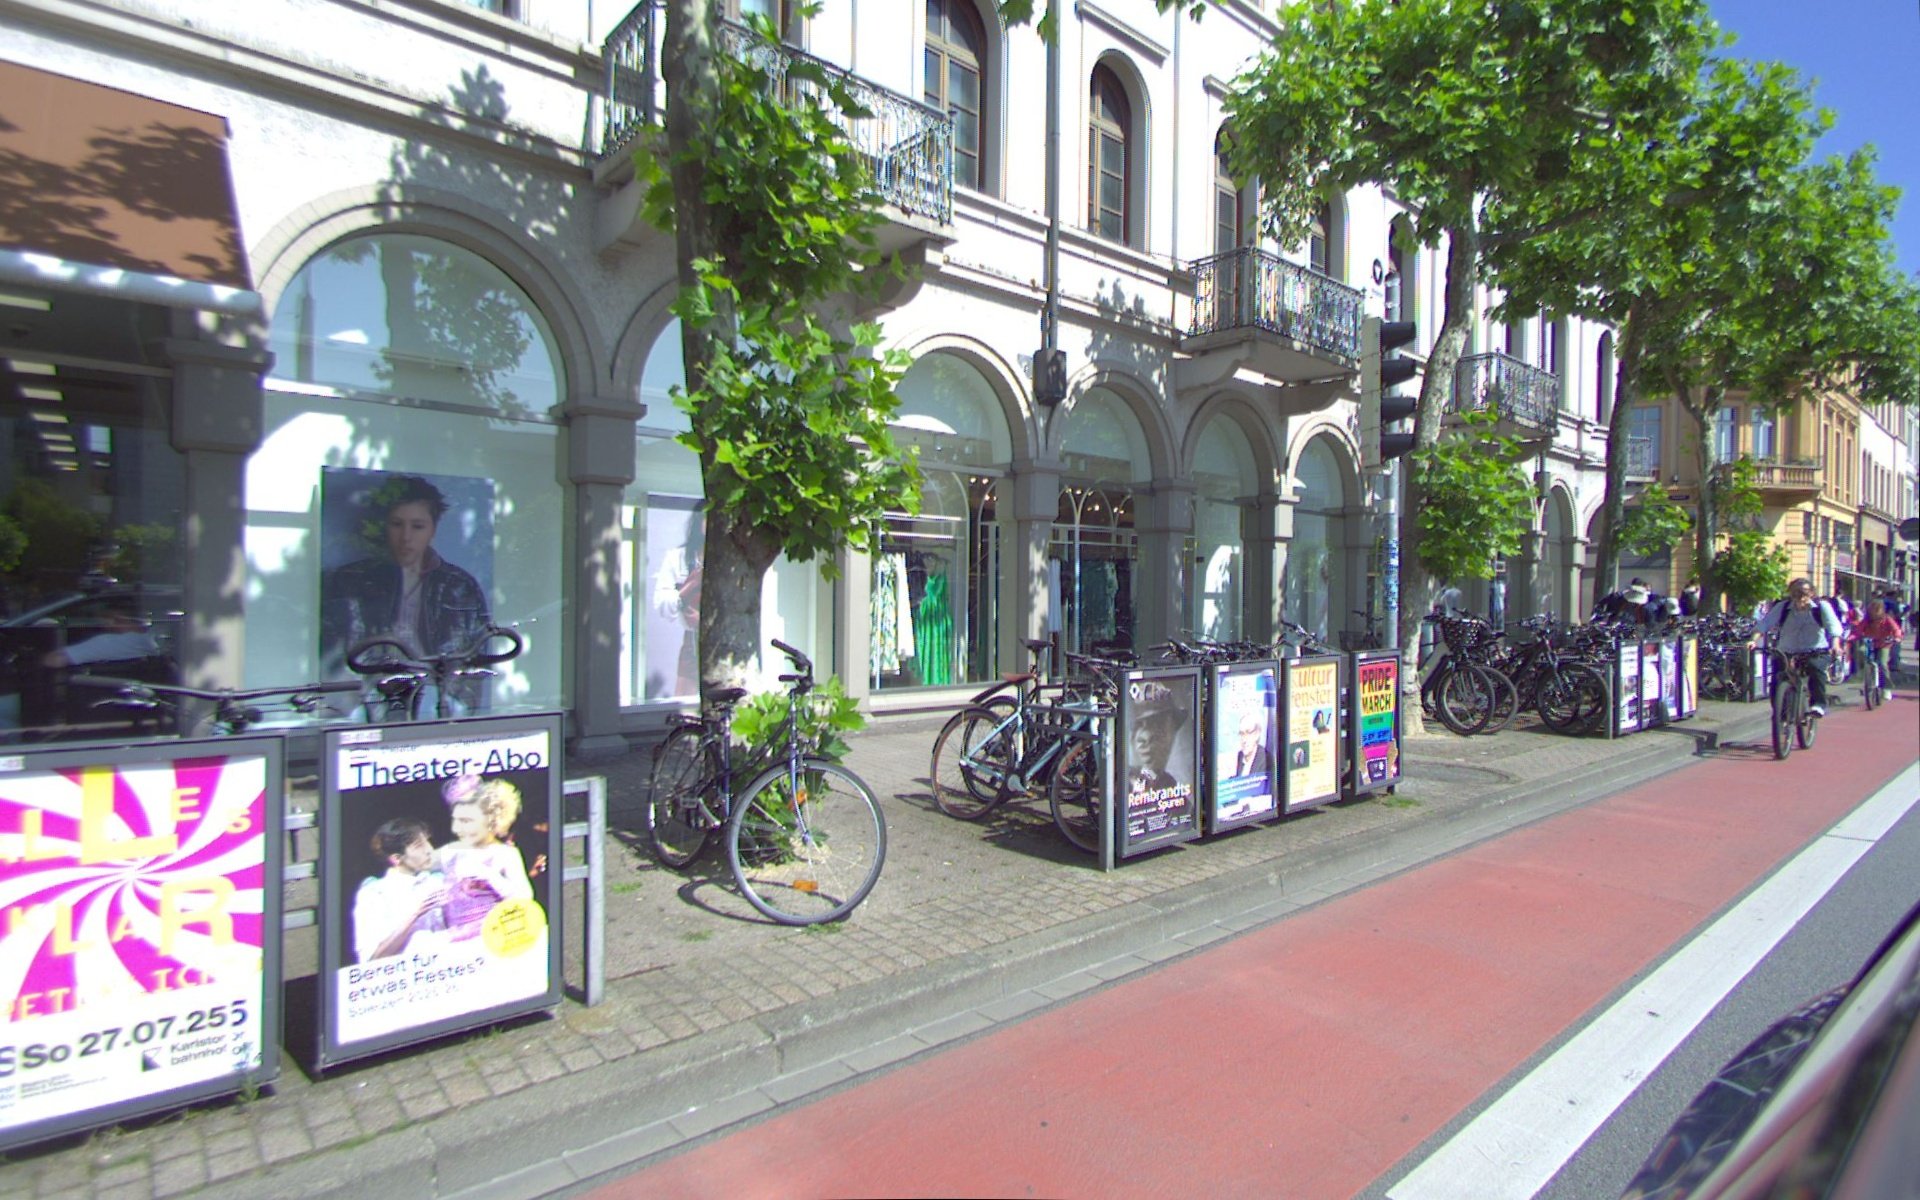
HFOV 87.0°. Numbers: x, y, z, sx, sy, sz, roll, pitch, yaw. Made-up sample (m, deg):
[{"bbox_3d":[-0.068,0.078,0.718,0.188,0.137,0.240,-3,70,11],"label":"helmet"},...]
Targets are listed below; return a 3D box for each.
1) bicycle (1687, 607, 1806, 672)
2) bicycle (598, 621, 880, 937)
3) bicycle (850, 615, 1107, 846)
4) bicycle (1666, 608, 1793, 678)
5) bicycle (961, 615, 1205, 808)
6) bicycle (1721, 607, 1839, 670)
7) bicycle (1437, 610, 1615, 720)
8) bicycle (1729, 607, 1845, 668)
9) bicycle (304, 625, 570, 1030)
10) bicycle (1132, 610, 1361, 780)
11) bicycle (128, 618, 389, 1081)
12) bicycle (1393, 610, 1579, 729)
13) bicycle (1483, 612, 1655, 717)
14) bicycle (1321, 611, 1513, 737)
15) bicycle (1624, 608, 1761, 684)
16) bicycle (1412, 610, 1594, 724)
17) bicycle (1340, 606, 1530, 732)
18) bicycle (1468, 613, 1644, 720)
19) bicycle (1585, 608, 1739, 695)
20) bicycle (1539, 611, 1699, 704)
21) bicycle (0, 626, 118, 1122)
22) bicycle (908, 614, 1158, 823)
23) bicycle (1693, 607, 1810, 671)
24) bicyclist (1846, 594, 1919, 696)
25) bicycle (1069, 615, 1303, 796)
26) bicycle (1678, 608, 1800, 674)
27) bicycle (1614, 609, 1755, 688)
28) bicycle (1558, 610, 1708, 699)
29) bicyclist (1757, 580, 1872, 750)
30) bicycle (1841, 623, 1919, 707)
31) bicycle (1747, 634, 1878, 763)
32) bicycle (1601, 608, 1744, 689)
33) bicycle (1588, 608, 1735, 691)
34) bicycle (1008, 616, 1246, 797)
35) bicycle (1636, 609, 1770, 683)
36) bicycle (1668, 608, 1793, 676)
[{"bbox_3d":[15.191,0.738,19.578,0.582,1.161,1.755,0,0,-42],"label":"bicycle"},{"bbox_3d":[-1.096,0.703,4.708,0.474,1.161,1.755,0,0,-42],"label":"bicycle"},{"bbox_3d":[0.050,0.692,6.096,0.474,1.161,1.755,0,0,-42],"label":"bicycle"},{"bbox_3d":[13.742,0.739,18.109,0.509,1.161,1.755,0,0,-42],"label":"bicycle"},{"bbox_3d":[0.768,0.671,6.820,0.474,1.101,1.755,0,0,-42],"label":"bicycle"},{"bbox_3d":[16.293,0.742,20.146,0.582,1.161,1.755,0,0,-42],"label":"bicycle"},{"bbox_3d":[6.547,0.715,11.791,0.474,1.161,1.755,0,0,-42],"label":"bicycle"},{"bbox_3d":[16.812,0.742,20.606,0.582,1.161,1.755,0,0,-42],"label":"bicycle"},{"bbox_3d":[-2.067,0.709,3.876,0.474,1.161,1.755,0,0,-42],"label":"bicycle"},{"bbox_3d":[2.196,0.677,7.960,0.474,1.161,1.755,0,0,-42],"label":"bicycle"},{"bbox_3d":[-2.475,0.668,3.483,0.518,1.161,1.755,0,0,-42],"label":"bicycle"},{"bbox_3d":[5.688,0.709,11.032,0.474,1.161,1.755,0,0,-42],"label":"bicycle"},{"bbox_3d":[7.451,0.753,12.459,0.474,1.161,1.755,0,0,-42],"label":"bicycle"},{"bbox_3d":[4.684,0.713,10.474,0.474,1.161,1.776,0,0,-42],"label":"bicycle"},{"bbox_3d":[12.038,0.729,16.675,0.582,1.161,1.755,0,0,-42],"label":"bicycle"},{"bbox_3d":[6.067,0.709,11.394,0.474,1.161,1.755,0,0,-42],"label":"bicycle"},{"bbox_3d":[5.031,0.687,10.823,0.474,1.209,1.802,0,0,-42],"label":"bicycle"},{"bbox_3d":[7.088,0.752,12.110,0.474,1.161,1.755,0,0,-42],"label":"bicycle"},{"bbox_3d":[10.138,0.707,14.672,0.582,1.161,1.755,0,0,-42],"label":"bicycle"},{"bbox_3d":[9.041,0.750,13.936,0.582,1.161,1.755,0,0,-42],"label":"bicycle"},{"bbox_3d":[-2.956,0.691,3.126,0.474,1.161,1.755,0,0,-42],"label":"bicycle"},{"bbox_3d":[0.406,0.671,6.450,0.474,1.119,1.755,0,0,-42],"label":"bicycle"},{"bbox_3d":[15.610,0.738,19.997,0.582,1.173,1.755,0,0,-42],"label":"bicycle"},{"bbox_3d":[13.258,0.622,14.541,0.765,1.414,0.689,0,-2,-42],"label":"bicyclist"},{"bbox_3d":[1.632,0.713,7.553,0.474,1.161,1.755,0,0,-42],"label":"bicycle"},{"bbox_3d":[14.647,0.739,19.071,0.582,1.161,1.755,0,0,-42],"label":"bicycle"},{"bbox_3d":[11.592,0.745,16.241,0.582,1.161,1.755,0,0,-42],"label":"bicycle"},{"bbox_3d":[9.538,0.737,14.389,0.510,1.161,1.705,0,0,-42],"label":"bicycle"},{"bbox_3d":[8.469,0.615,10.034,0.765,1.597,0.749,0,-2,-42],"label":"bicyclist"},{"bbox_3d":[13.233,0.894,14.478,1.788,1.107,0.735,1,-1,-42],"label":"bicycle"},{"bbox_3d":[8.449,0.912,10.006,1.865,1.107,0.735,0,-1,-42],"label":"bicycle"},{"bbox_3d":[11.093,0.726,15.804,0.582,1.161,1.755,0,0,-42],"label":"bicycle"},{"bbox_3d":[10.576,0.711,15.307,0.582,1.161,1.755,0,0,-42],"label":"bicycle"},{"bbox_3d":[1.124,0.681,7.163,0.474,1.082,1.755,0,0,-42],"label":"bicycle"},{"bbox_3d":[12.552,0.743,17.132,0.582,1.161,1.755,0,0,-42],"label":"bicycle"},{"bbox_3d":[14.128,0.740,18.587,0.582,1.161,1.755,0,0,-42],"label":"bicycle"}]
